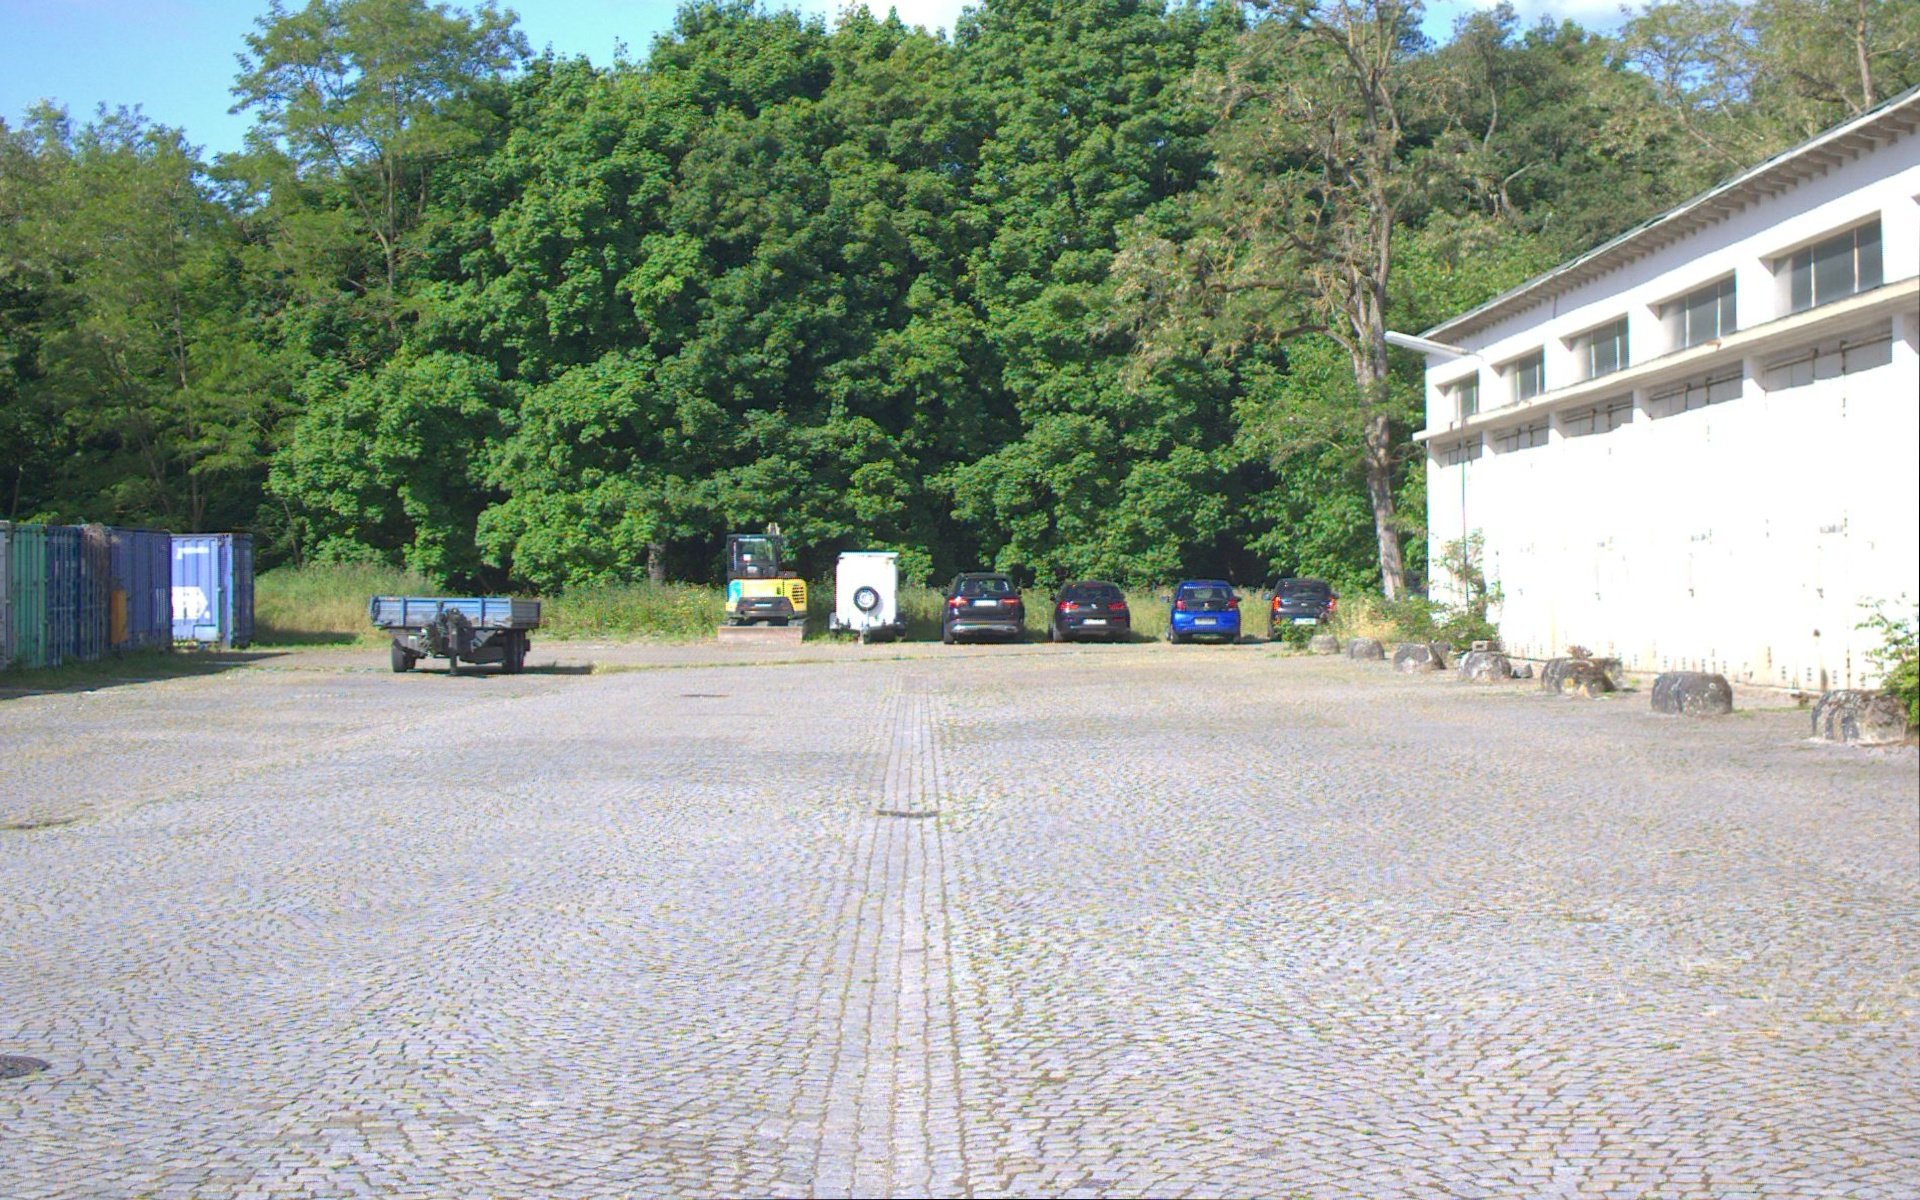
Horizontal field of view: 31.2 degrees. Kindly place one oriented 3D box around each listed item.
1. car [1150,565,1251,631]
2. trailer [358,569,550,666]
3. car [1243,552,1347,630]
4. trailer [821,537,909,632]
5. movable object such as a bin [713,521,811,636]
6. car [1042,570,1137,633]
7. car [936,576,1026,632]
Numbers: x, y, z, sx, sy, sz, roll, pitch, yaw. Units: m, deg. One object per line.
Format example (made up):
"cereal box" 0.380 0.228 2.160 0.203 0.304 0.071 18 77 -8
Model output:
"car" 5.583 -0.057 80.325 1.993 1.461 4.000 -1 0 -1
"trailer" -9.134 0.294 62.563 2.791 1.640 5.621 -1 0 -2
"car" 7.928 -0.216 81.581 1.993 1.766 4.000 -1 0 -1
"trailer" -2.224 -0.371 81.153 1.993 2.155 4.432 -1 0 -1
"movable object such as a bin" -4.700 -0.525 81.896 2.231 2.648 4.000 -1 1 -3
"car" 2.992 0.016 80.322 1.993 1.419 4.000 -1 0 -1
"car" 0.469 0.077 79.935 1.993 1.254 4.000 -1 0 -1
